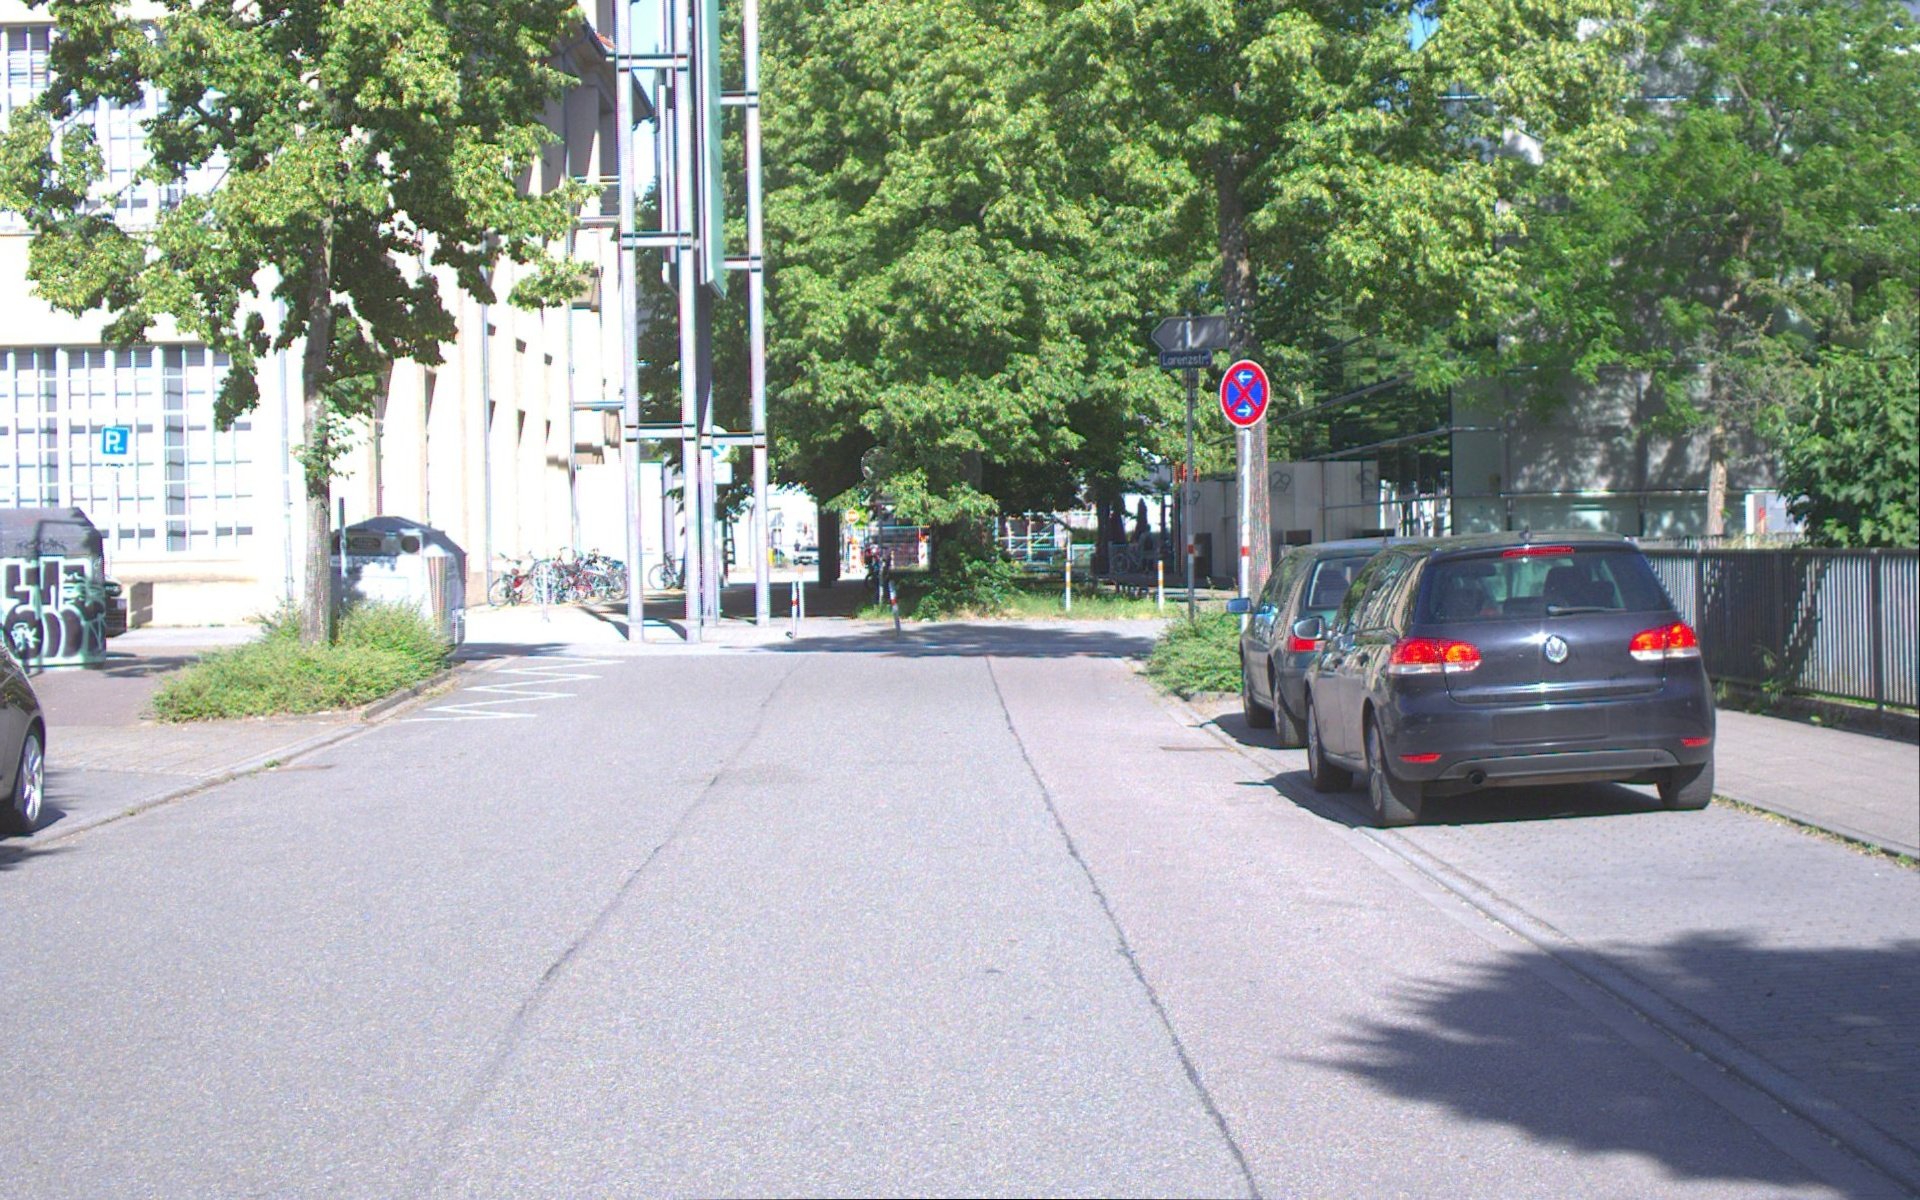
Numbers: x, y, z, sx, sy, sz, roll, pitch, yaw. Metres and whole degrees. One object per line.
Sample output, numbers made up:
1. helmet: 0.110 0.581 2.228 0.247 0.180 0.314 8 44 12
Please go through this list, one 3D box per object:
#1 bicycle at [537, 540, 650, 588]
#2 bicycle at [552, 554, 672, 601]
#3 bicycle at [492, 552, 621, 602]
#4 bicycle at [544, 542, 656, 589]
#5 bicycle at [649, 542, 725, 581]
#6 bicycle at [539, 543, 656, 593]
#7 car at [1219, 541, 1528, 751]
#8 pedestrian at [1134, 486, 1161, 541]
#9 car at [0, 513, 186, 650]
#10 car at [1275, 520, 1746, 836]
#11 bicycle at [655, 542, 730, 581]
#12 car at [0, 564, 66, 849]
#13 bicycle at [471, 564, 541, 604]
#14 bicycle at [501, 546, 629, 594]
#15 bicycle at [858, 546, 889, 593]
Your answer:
1. bicycle: -9.022 -0.898 84.691 2.731 1.147 0.719 -1 1 -5
2. bicycle: -8.180 -0.544 80.925 2.800 1.059 0.719 -1 1 -5
3. bicycle: -8.952 -0.521 76.393 2.800 1.059 0.719 -1 1 -5
4. bicycle: -8.946 -0.862 85.482 2.731 1.147 0.719 -1 1 -5
5. bicycle: -7.617 -1.069 96.040 2.058 1.062 0.506 -1 1 2
6. bicycle: -8.776 -0.788 83.291 2.800 1.147 0.719 -1 1 -5
7. car: 2.973 0.293 25.541 1.746 1.417 4.424 0 0 0
8. pedestrian: 5.357 -2.482 98.272 0.717 1.545 0.690 -1 1 6
9. car: -12.148 -0.225 43.811 4.090 1.690 2.000 -1 1 1
10. car: 2.897 0.337 18.932 1.783 1.510 4.001 -1 1 -2
11. bicycle: -7.523 -1.095 96.753 2.058 1.062 0.506 -1 1 2
12. car: -5.821 0.549 17.562 1.717 1.469 3.547 1 1 -3
13. bicycle: -9.698 -0.351 73.610 0.778 0.789 2.883 0 1 7
14. bicycle: -8.954 -0.685 77.995 2.800 1.059 0.719 -1 1 0
15. bicycle: -2.280 -0.805 90.411 0.619 1.193 2.132 -1 1 -6
